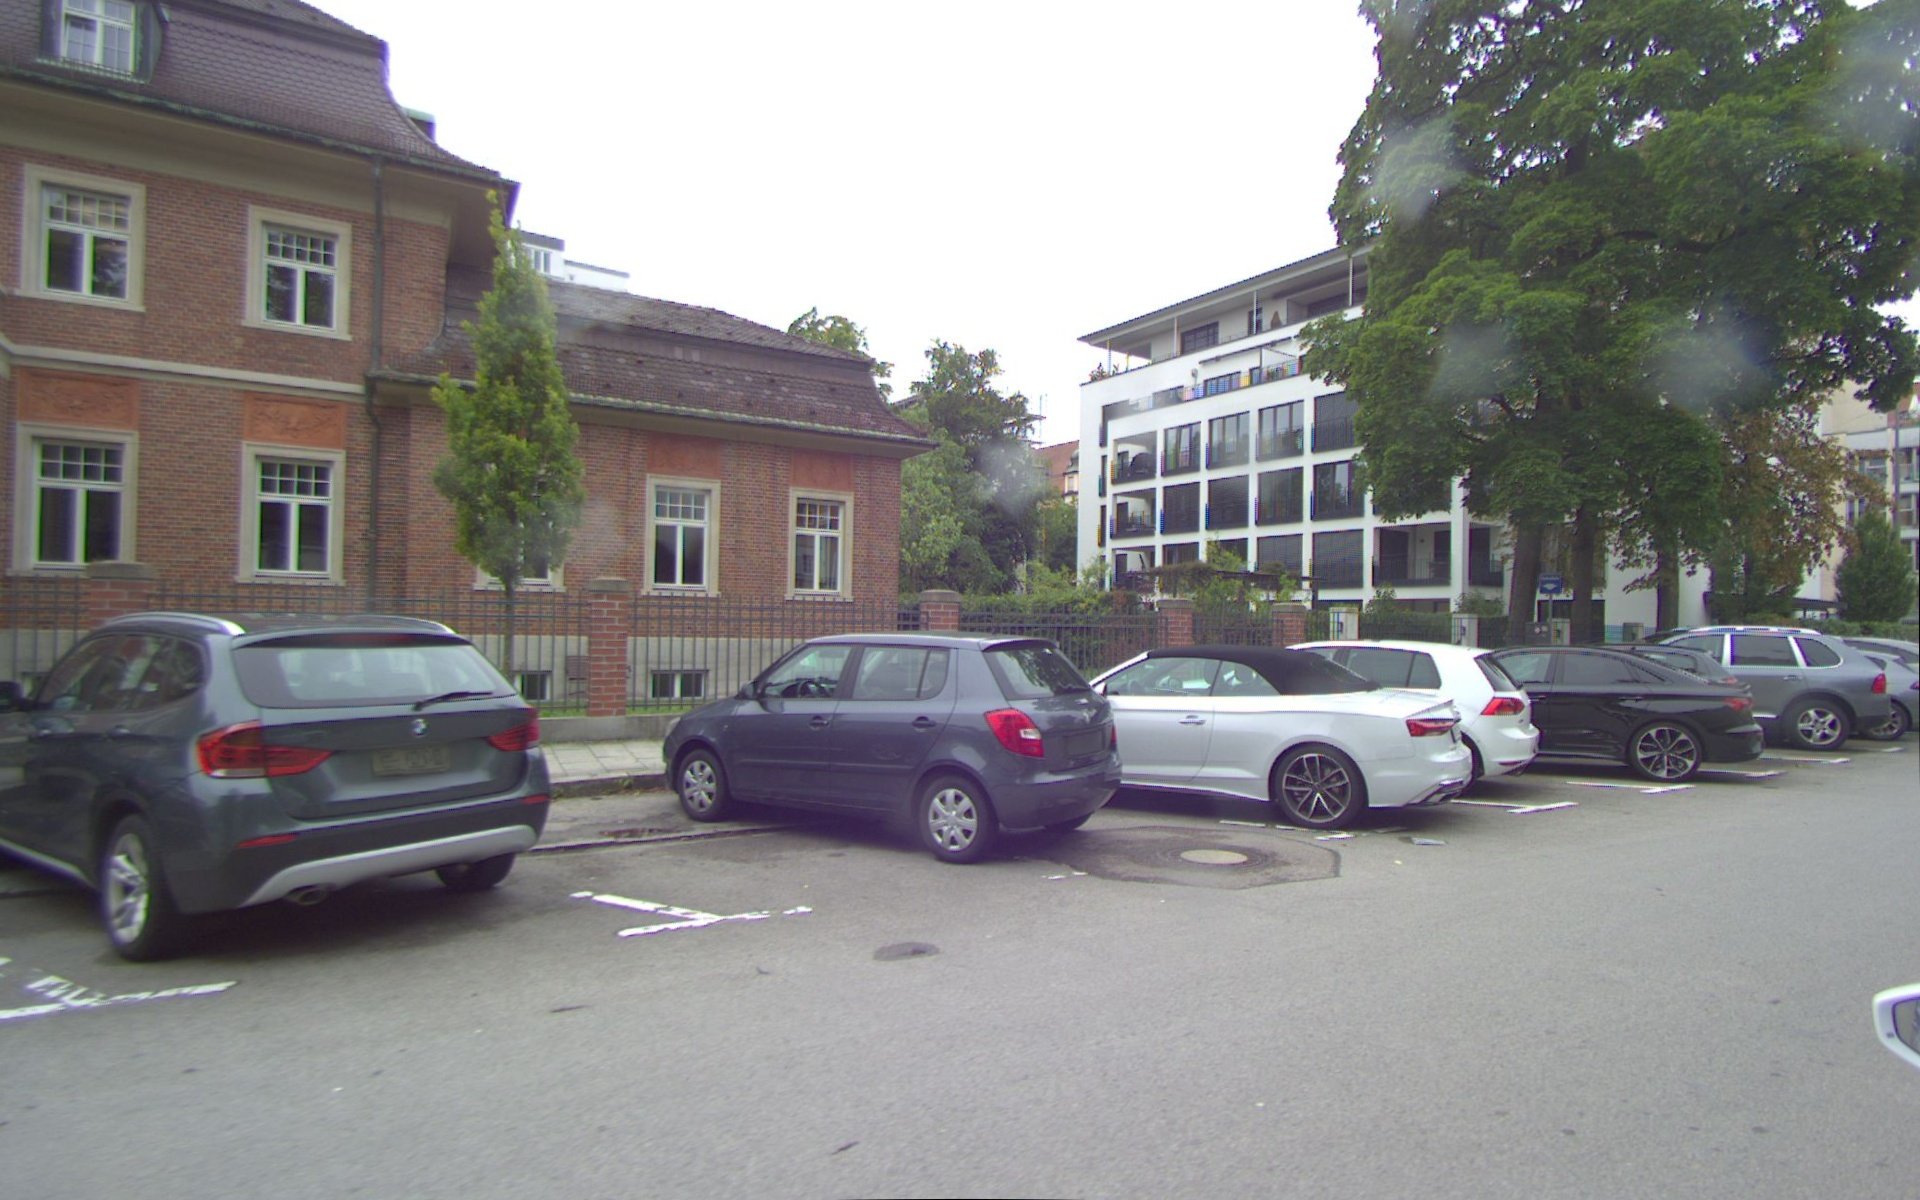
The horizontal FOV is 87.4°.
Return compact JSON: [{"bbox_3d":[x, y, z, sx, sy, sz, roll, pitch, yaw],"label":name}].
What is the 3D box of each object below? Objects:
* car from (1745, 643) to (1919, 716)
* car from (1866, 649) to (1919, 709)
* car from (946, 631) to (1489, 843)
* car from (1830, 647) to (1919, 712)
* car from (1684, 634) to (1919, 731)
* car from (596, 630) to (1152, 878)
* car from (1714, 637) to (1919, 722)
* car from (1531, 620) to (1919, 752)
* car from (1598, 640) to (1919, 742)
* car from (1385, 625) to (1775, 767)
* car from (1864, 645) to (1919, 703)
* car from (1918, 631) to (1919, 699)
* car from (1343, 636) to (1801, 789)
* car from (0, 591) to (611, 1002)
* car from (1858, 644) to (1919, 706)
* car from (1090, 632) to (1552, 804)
[{"bbox_3d":[20.282,1.760,22.408,4.143,1.480,1.790,0,-2,31],"label":"car"},{"bbox_3d":[25.400,1.973,24.859,4.147,1.480,1.732,-2,-3,34],"label":"car"},{"bbox_3d":[2.258,1.052,9.141,4.437,1.470,1.893,0,-2,31],"label":"car"},{"bbox_3d":[23.146,1.843,23.284,4.138,1.480,1.736,-1,-3,25],"label":"car"},{"bbox_3d":[16.495,1.515,19.080,4.338,1.642,2.081,0,-2,34],"label":"car"},{"bbox_3d":[-0.824,0.985,7.953,4.322,1.470,1.652,-1,-2,34],"label":"car"},{"bbox_3d":[18.444,1.622,20.950,4.143,1.619,1.883,0,-2,31],"label":"car"},{"bbox_3d":[11.389,1.220,15.399,4.327,1.721,2.136,0,-2,23],"label":"car"},{"bbox_3d":[13.692,1.490,17.259,4.328,1.510,2.017,0,-2,23],"label":"car"},{"bbox_3d":[8.254,1.229,13.918,4.327,1.651,1.965,0,-2,23],"label":"car"},{"bbox_3d":[28.688,2.115,28.490,4.139,1.630,1.736,-1,-3,26],"label":"car"},{"bbox_3d":[31.315,1.949,29.553,4.139,2.093,1.736,-1,-3,26],"label":"car"},{"bbox_3d":[6.931,1.214,11.953,4.328,1.458,1.965,0,-2,24],"label":"car"},{"bbox_3d":[-4.293,0.805,5.919,4.450,1.588,1.885,0,-2,33],"label":"car"},{"bbox_3d":[27.076,2.013,26.926,4.142,1.630,1.734,-1,-3,30],"label":"car"},{"bbox_3d":[3.849,1.178,10.947,4.438,1.529,1.928,-2,-4,31],"label":"car"}]
